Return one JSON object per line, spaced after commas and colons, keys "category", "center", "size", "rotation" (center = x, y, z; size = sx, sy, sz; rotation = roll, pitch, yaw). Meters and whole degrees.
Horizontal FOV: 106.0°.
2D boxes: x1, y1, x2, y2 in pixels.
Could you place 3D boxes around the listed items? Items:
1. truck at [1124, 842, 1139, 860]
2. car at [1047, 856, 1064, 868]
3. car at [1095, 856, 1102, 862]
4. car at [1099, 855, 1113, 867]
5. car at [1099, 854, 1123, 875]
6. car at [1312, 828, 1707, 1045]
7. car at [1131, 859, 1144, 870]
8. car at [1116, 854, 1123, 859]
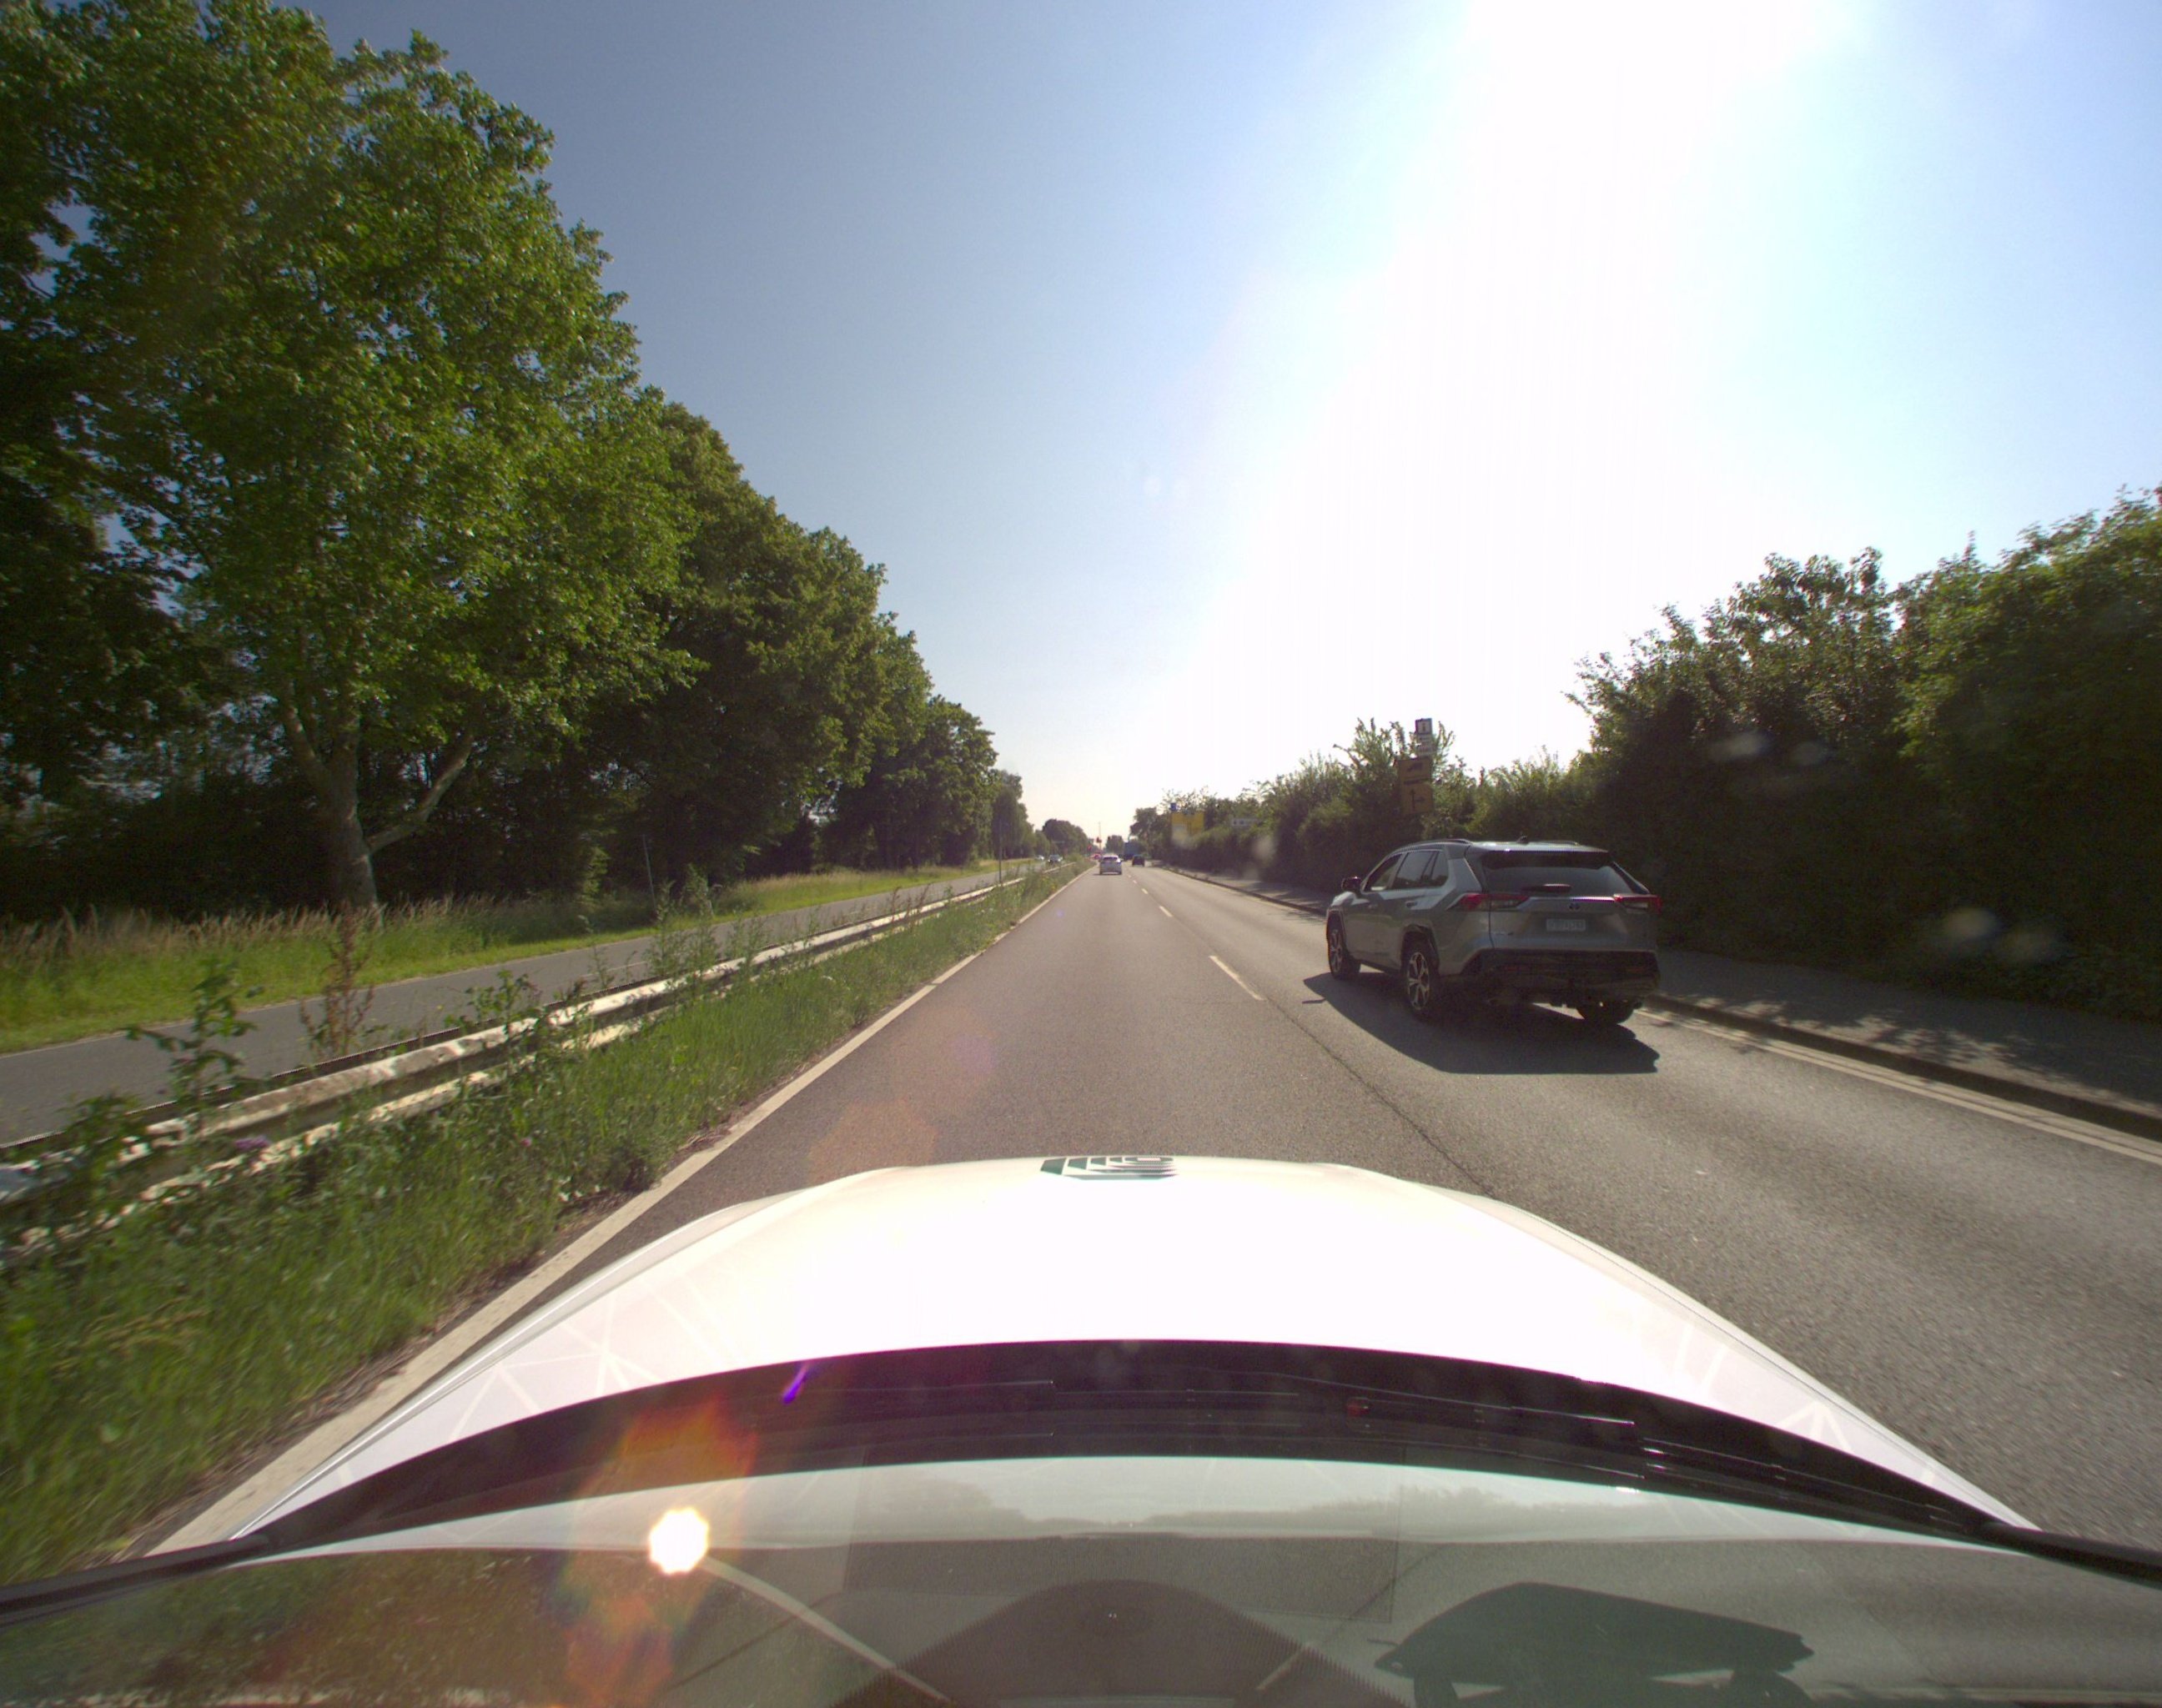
{"category": "truck", "center": [10.102, -0.533, 163.716], "size": [2.880, 3.428, 9.173], "rotation": [-1, 0, 2]}
{"category": "car", "center": [-3.348, 1.087, 108.294], "size": [1.770, 1.530, 4.166], "rotation": [-2, 0, 4]}
{"category": "car", "center": [4.906, 1.350, 225.477], "size": [1.804, 1.464, 4.976], "rotation": [-2, -1, 4]}
{"category": "car", "center": [2.968, 0.782, 95.403], "size": [1.566, 1.414, 3.279], "rotation": [0, 0, 2]}
{"category": "car", "center": [2.345, 0.797, 62.347], "size": [1.791, 1.553, 4.003], "rotation": [0, 0, 3]}
{"category": "car", "center": [4.014, 0.649, 8.720], "size": [1.895, 1.680, 4.685], "rotation": [1, 0, 2]}
{"category": "car", "center": [7.182, 1.334, 103.414], "size": [1.566, 1.414, 3.279], "rotation": [0, -1, 2]}
{"category": "car", "center": [11.845, 0.867, 250.570], "size": [1.804, 1.464, 4.464], "rotation": [-2, -1, 4]}
